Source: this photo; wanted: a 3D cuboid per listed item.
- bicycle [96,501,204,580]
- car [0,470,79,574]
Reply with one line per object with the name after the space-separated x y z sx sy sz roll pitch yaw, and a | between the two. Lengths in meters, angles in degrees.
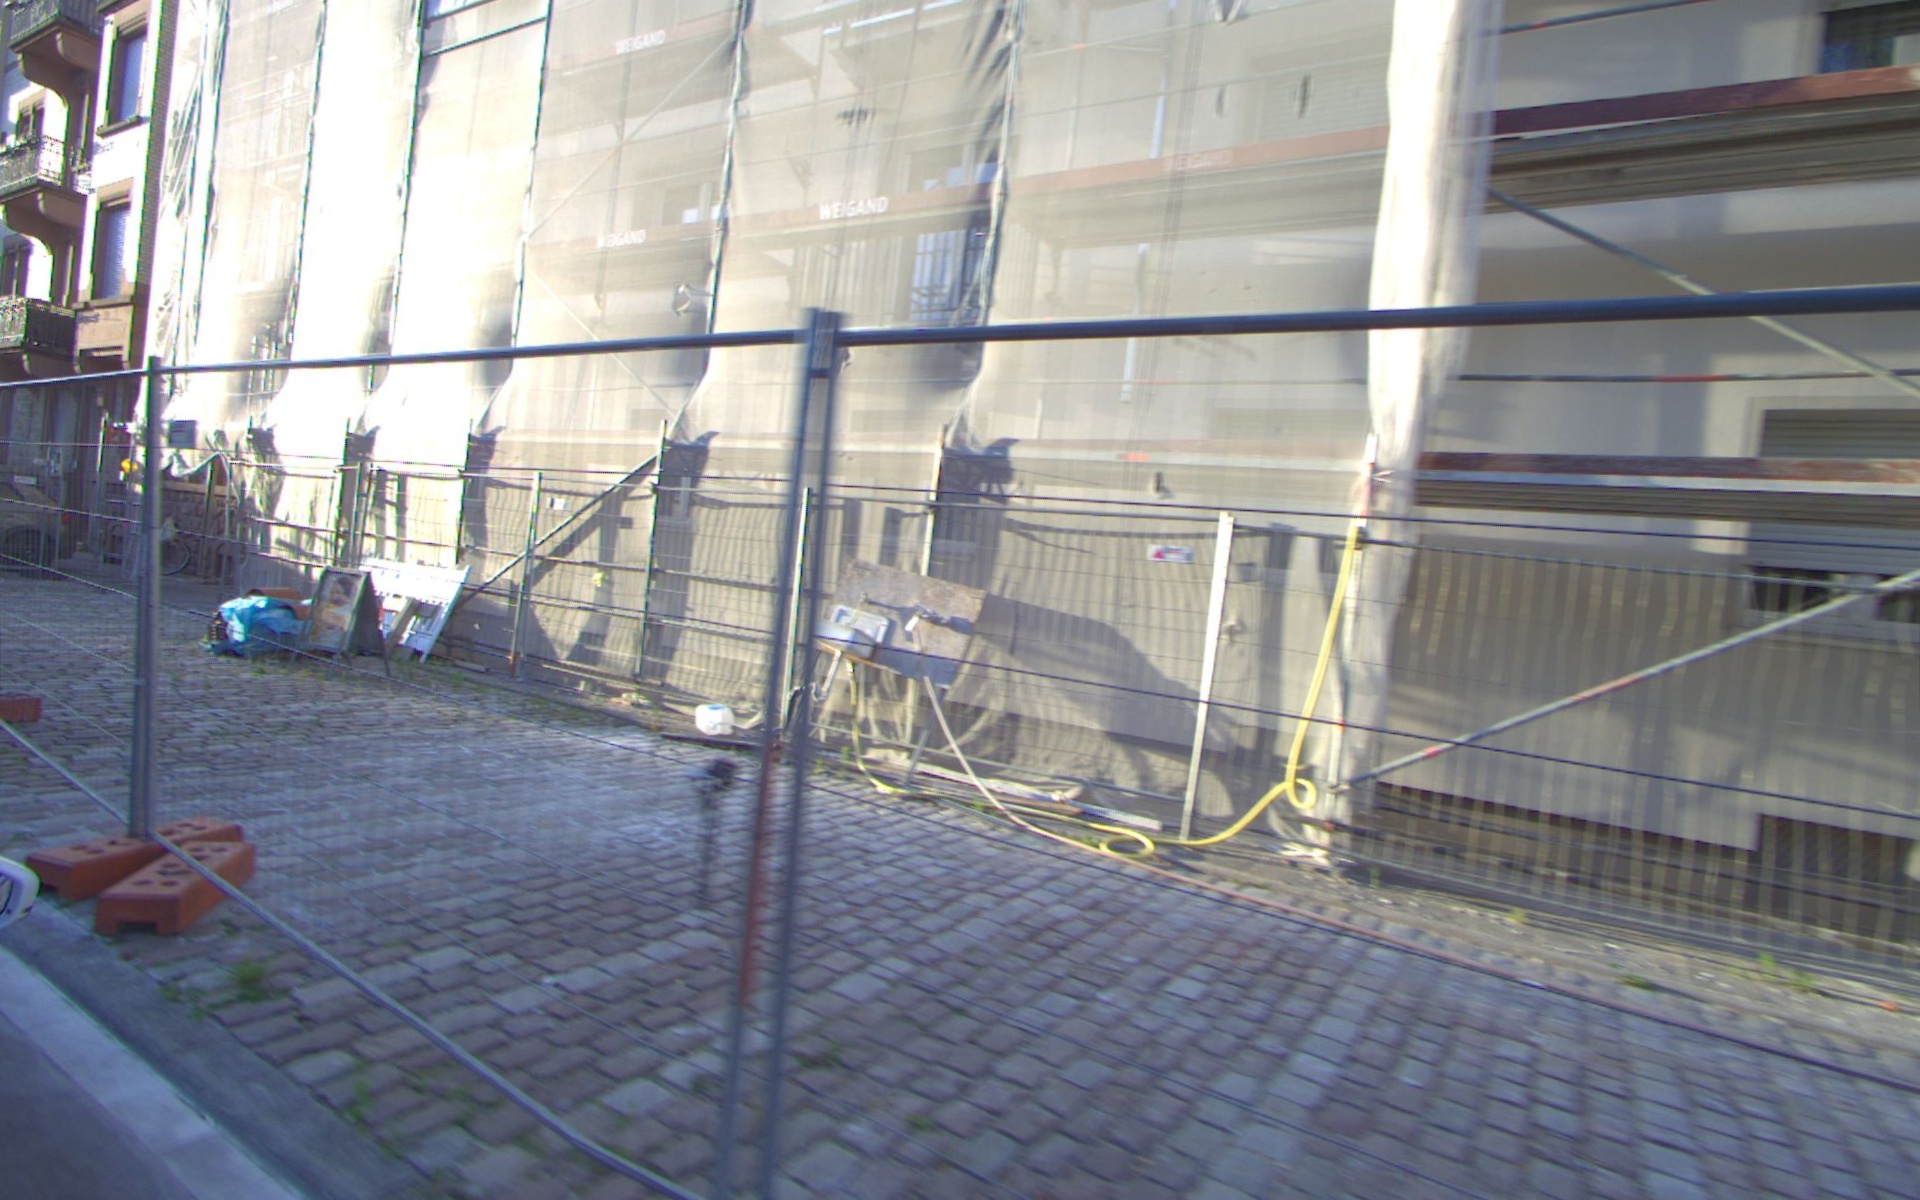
-14.498 -1.074 17.989 1.999 1.183 0.632 7 0 26 | bicycle
-15.806 -1.306 14.666 1.984 1.536 3.990 7 3 27 | car
